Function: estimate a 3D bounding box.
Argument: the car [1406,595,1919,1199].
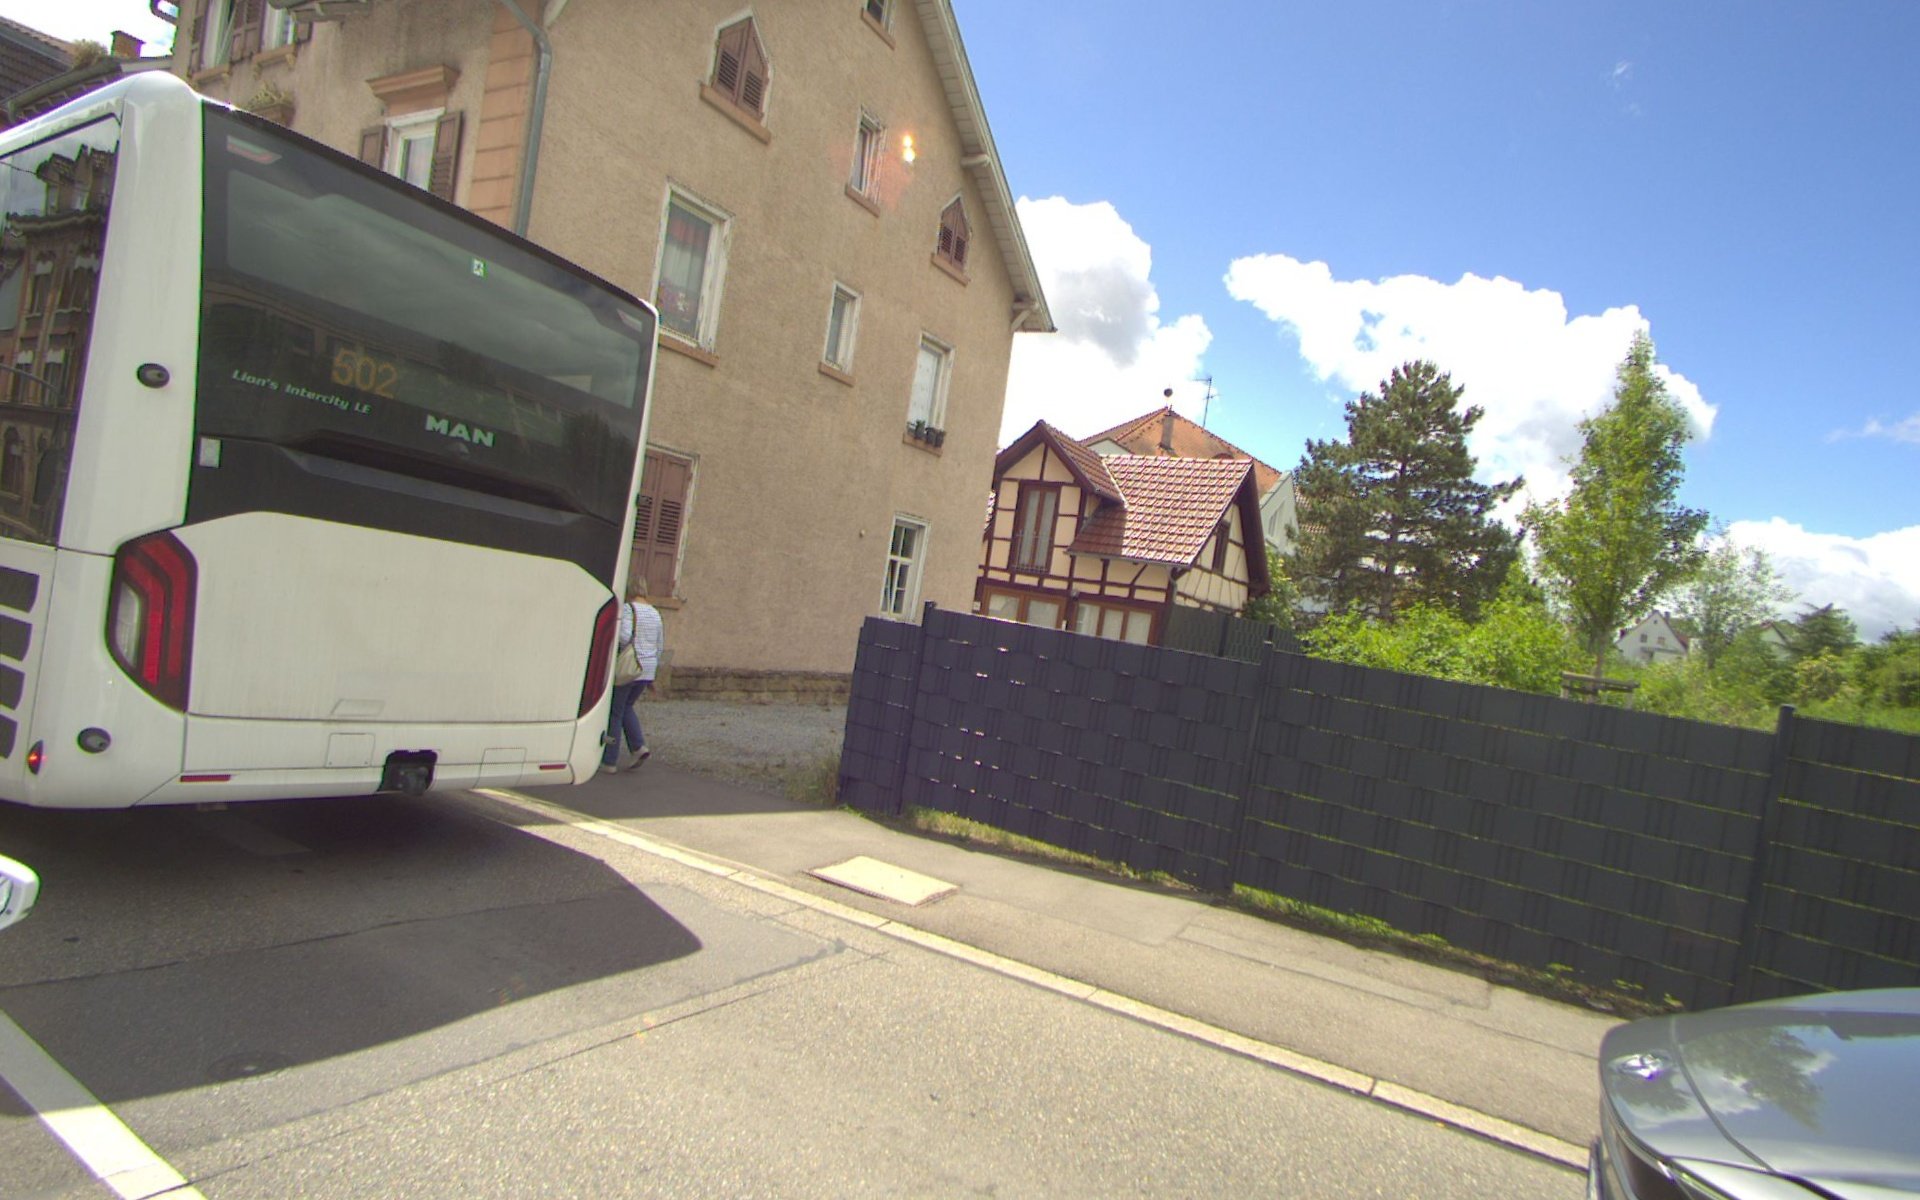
[{"bbox_3d":[3.002,1.154,0.914,4.605,1.631,1.924,7,-2,32],"label":"car"}]

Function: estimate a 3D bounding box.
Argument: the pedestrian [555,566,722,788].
[{"bbox_3d":[-2.514,0.589,7.919,0.700,1.581,0.860,7,1,31],"label":"pedestrian"}]

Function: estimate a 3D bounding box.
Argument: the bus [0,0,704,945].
[{"bbox_3d":[-7.456,-0.936,7.692,12.255,3.194,2.676,7,0,32],"label":"bus"}]
